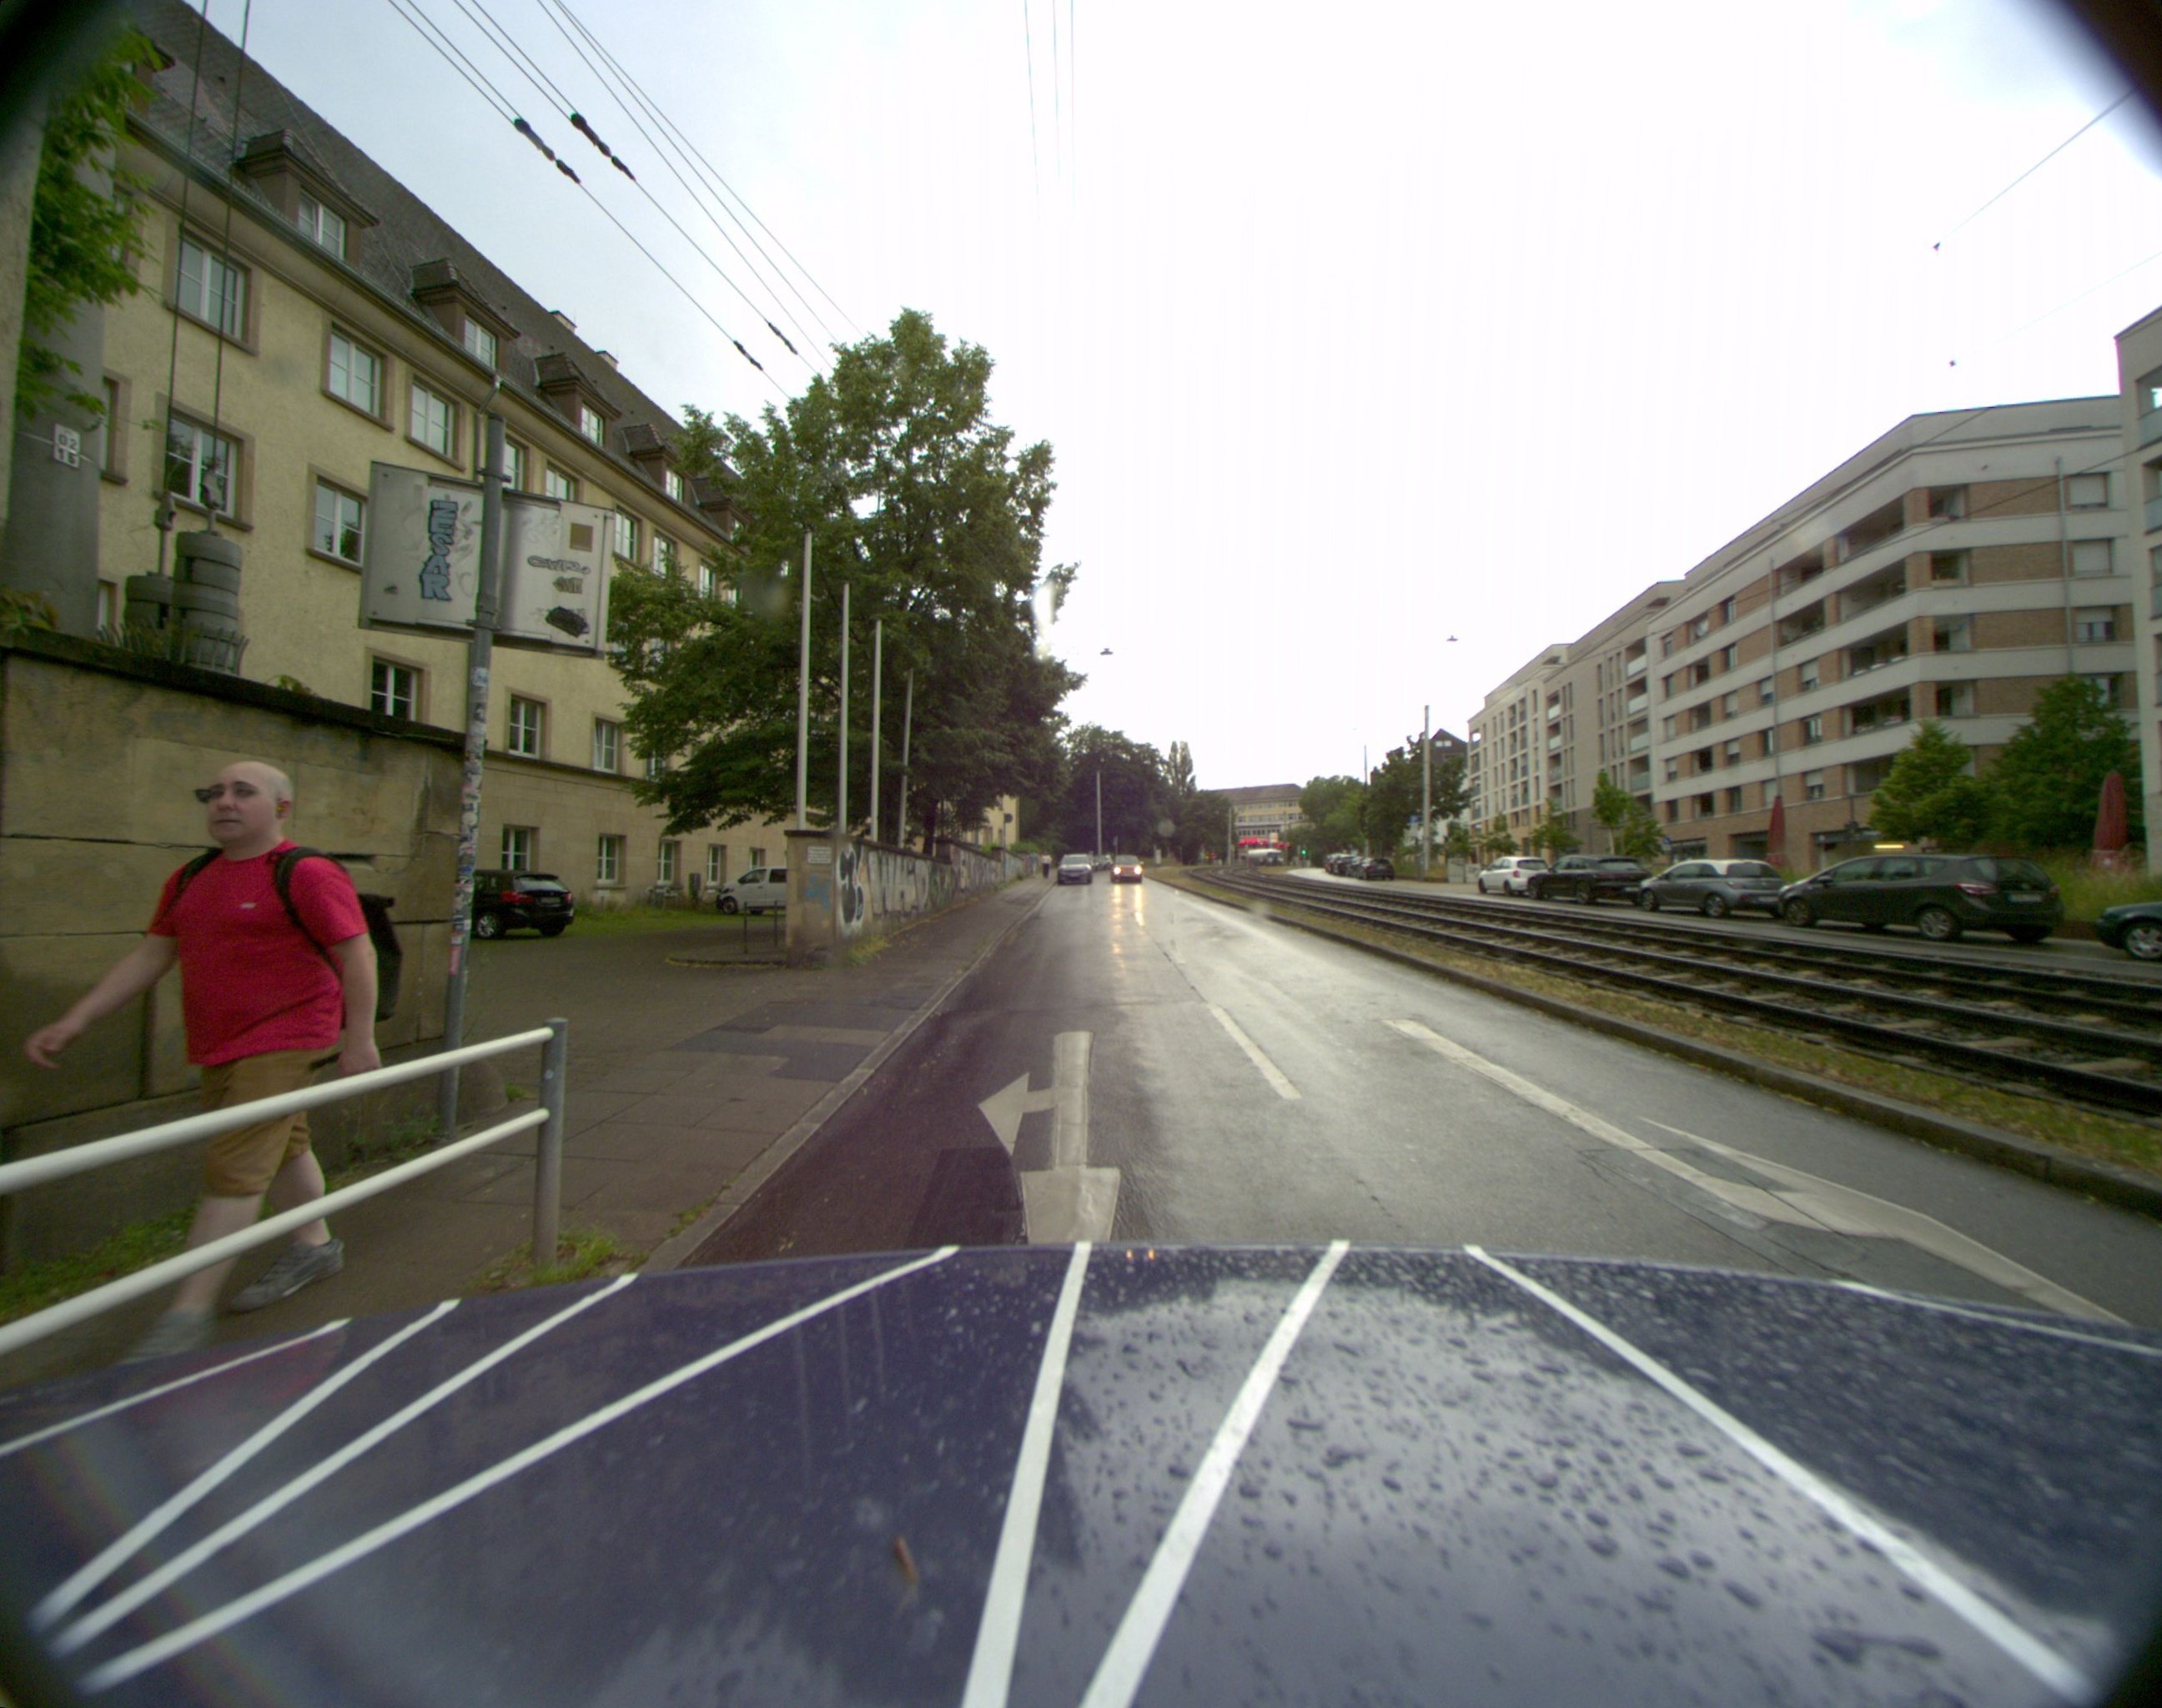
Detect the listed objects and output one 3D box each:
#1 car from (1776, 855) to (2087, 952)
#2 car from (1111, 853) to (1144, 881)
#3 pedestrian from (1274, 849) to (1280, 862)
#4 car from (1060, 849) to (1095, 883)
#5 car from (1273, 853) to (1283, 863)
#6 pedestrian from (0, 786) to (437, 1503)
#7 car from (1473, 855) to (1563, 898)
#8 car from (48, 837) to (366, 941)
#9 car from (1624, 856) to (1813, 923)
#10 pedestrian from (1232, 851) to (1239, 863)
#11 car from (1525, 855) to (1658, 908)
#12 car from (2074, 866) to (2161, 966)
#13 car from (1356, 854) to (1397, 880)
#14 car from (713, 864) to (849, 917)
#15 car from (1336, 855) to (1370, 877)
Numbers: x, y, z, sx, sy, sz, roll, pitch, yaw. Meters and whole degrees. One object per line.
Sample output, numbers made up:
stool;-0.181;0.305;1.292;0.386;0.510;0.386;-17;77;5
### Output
car;16.209;0.840;14.838;1.684;1.554;3.928;-1;1;0
car;2.538;0.685;42.206;1.594;1.455;3.669;0;1;0
pedestrian;28.346;0.198;109.893;0.817;1.754;0.750;2;0;8
car;-0.195;0.594;41.268;1.726;1.676;3.866;-3;1;0
car;34.421;0.760;132.693;1.666;1.597;3.812;-2;1;15
pedestrian;-2.673;0.711;2.273;0.748;1.754;0.818;2;0;0
car;17.062;0.831;29.852;1.649;1.496;3.782;-1;1;6
car;-14.333;0.551;12.543;3.910;1.461;1.613;-2;1;10
car;16.587;0.847;20.048;1.684;1.496;3.928;-1;1;0
pedestrian;22.938;0.438;112.804;0.816;1.754;0.751;2;1;40
car;16.546;0.828;24.919;1.683;1.496;4.406;-1;1;5
car;16.348;0.907;9.851;1.684;1.372;4.032;-1;1;0
car;18.982;0.801;48.940;1.653;1.455;3.672;-2;1;9
car;-11.474;1.378;29.169;4.526;1.769;1.824;-2;1;11
car;20.269;0.902;56.707;1.653;1.455;3.672;-2;1;9
